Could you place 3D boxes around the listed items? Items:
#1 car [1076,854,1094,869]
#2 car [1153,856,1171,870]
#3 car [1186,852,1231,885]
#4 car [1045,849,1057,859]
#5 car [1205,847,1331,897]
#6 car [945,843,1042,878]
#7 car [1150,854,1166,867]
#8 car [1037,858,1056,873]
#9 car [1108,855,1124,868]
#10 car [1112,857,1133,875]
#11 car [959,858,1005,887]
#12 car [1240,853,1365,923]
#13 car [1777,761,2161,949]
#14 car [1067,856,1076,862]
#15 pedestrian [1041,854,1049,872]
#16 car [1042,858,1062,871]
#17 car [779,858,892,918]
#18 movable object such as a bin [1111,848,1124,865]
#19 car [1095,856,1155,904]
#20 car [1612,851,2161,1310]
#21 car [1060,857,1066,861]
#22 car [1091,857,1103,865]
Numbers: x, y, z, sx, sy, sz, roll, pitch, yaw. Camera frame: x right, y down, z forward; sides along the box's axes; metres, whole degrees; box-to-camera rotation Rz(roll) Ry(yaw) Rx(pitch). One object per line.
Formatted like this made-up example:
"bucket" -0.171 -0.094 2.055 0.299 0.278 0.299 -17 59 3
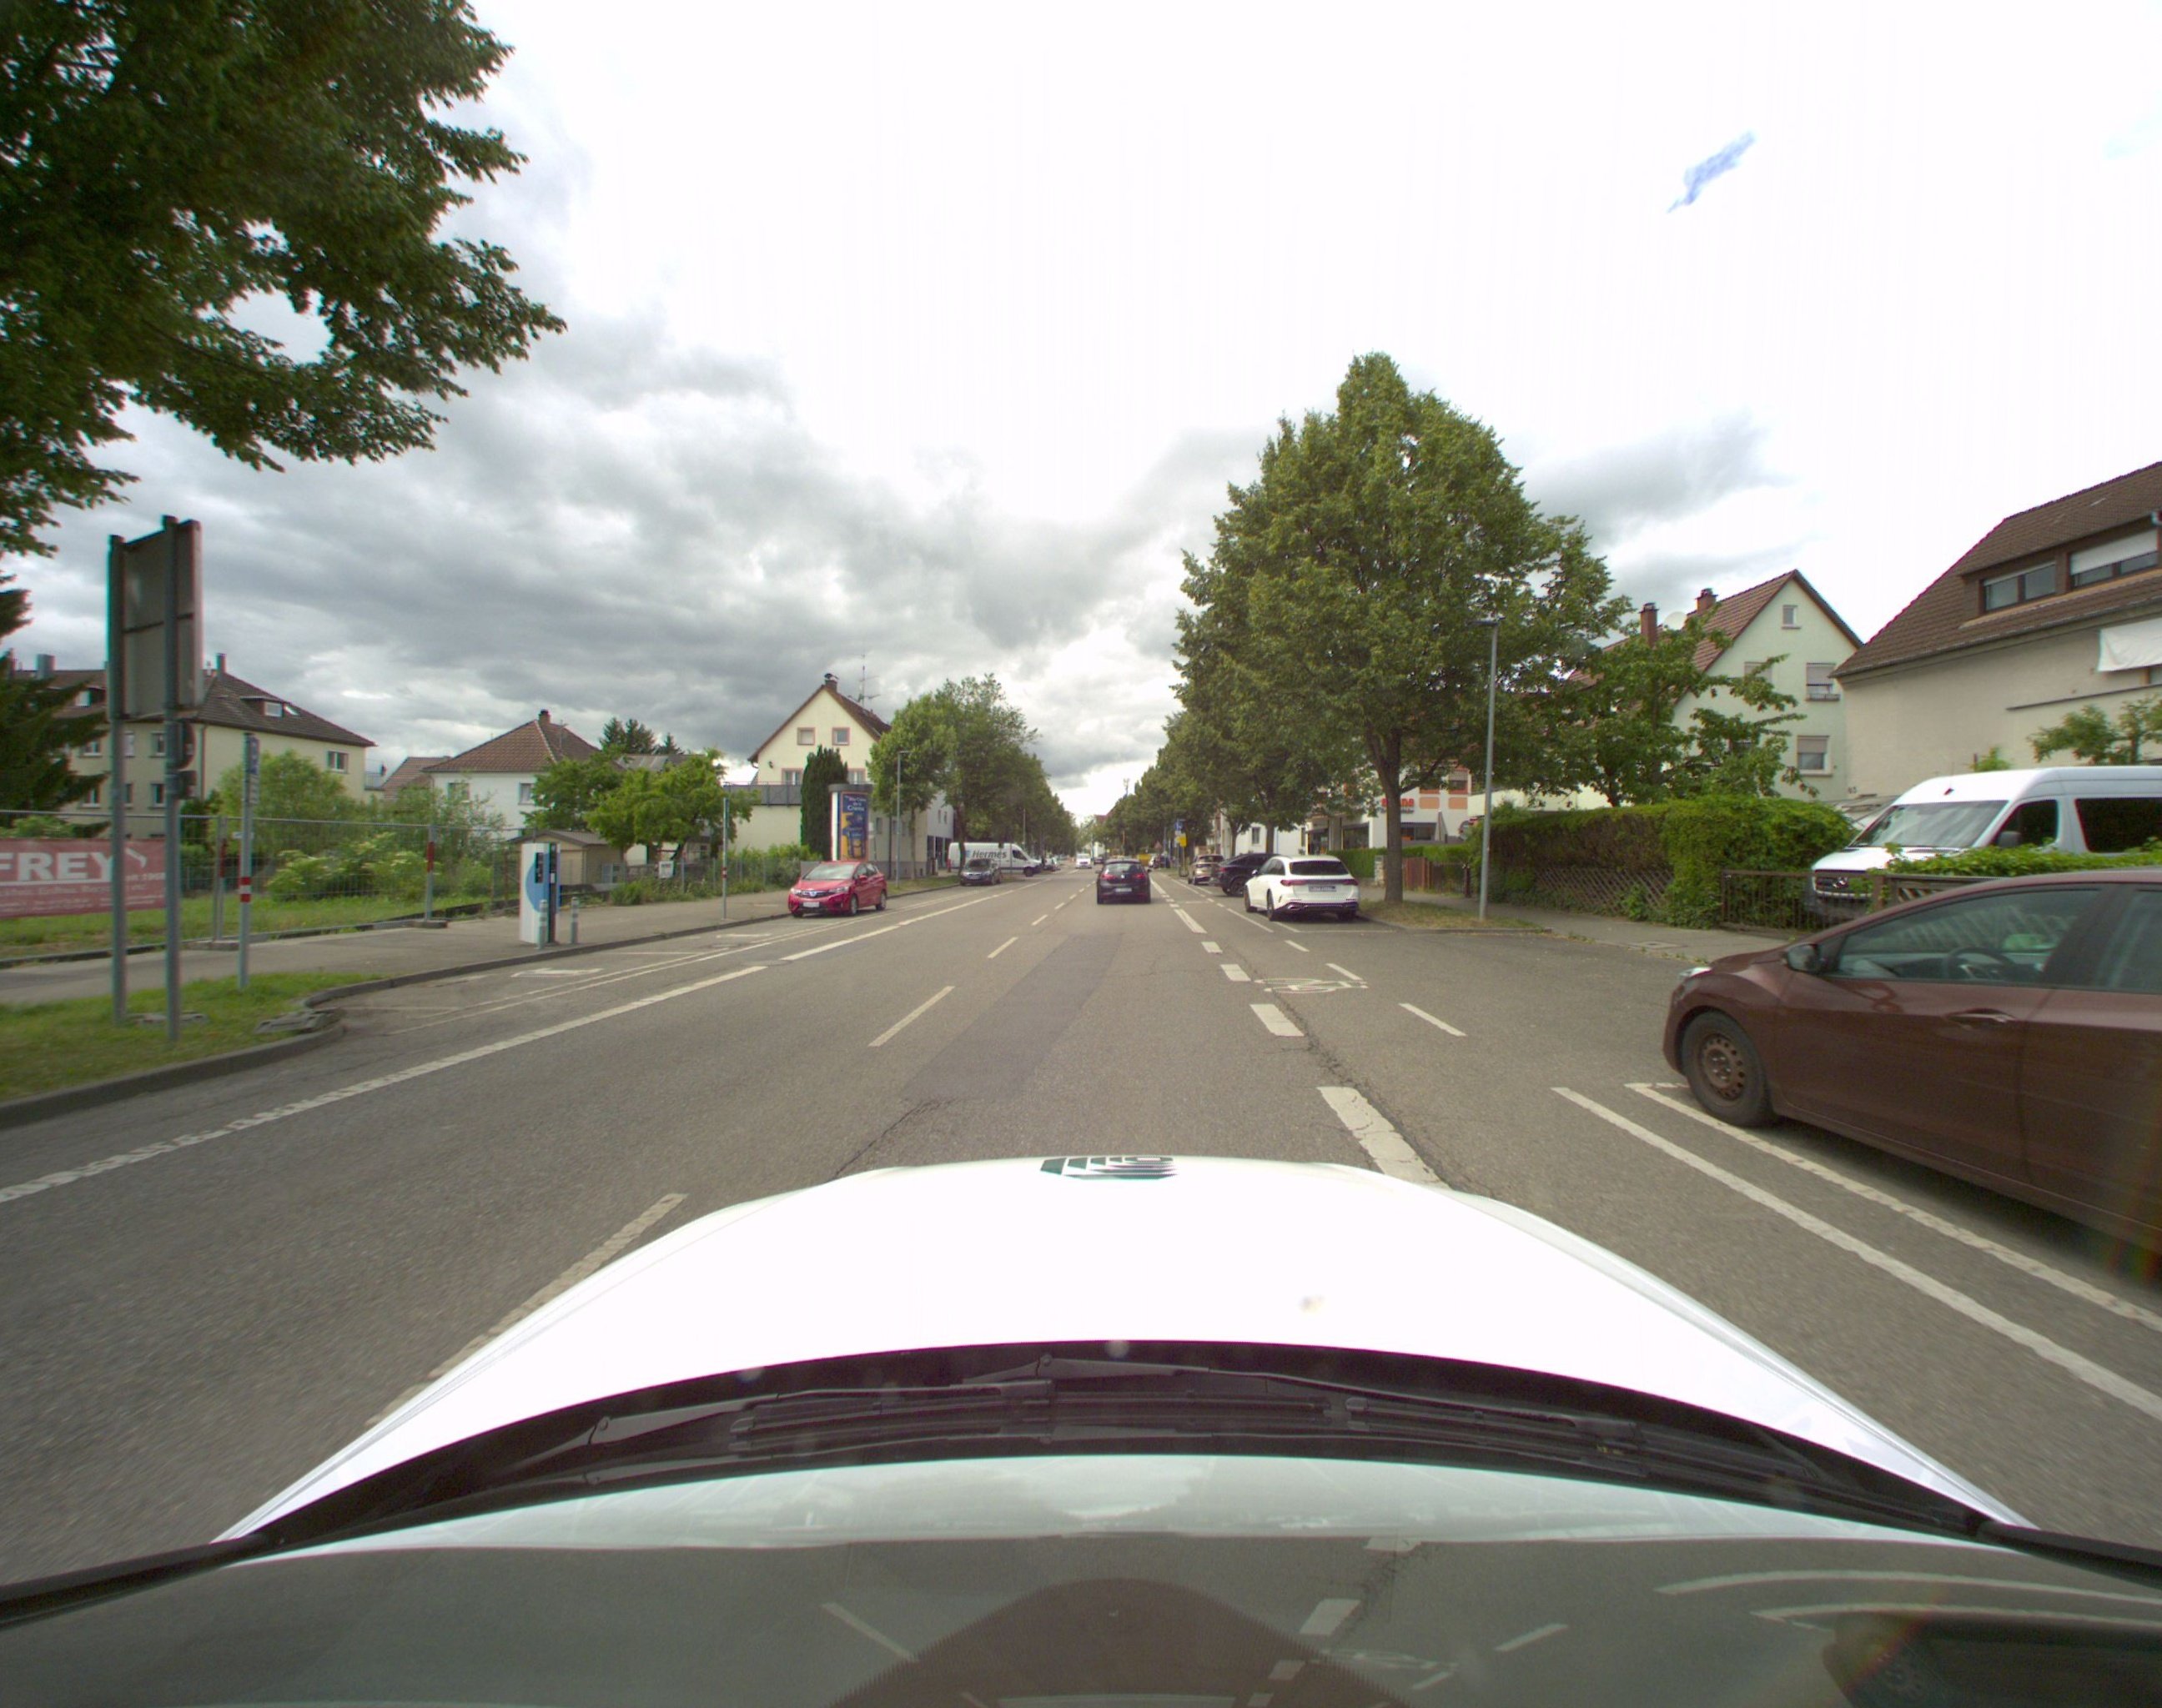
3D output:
"car" 0.497 0.883 99.858 1.958 1.830 4.822 -1 0 3
"car" 8.998 0.963 90.831 1.699 1.454 4.618 -1 0 2
"car" 6.422 0.715 41.499 1.716 1.580 4.061 -1 0 1
"car" -6.383 0.045 172.302 2.089 2.175 5.035 -1 0 -5
"car" 6.783 0.640 29.779 4.207 1.638 1.691 -1 0 -3
"car" -6.748 0.489 63.541 7.267 2.594 2.219 -1 0 -1
"car" 9.487 0.795 100.747 1.667 1.462 3.999 -1 0 0
"car" -3.471 1.166 83.462 1.637 1.420 4.022 -1 0 2
"car" 4.496 0.976 104.553 1.785 1.623 3.738 -1 0 -1
"car" 4.132 1.207 80.687 1.897 1.685 3.744 -1 0 4
"car" -5.508 0.990 45.665 1.723 1.469 4.306 -1 0 4
"car" 5.127 0.729 19.542 1.799 1.475 4.813 0 0 1
"car" 14.209 -0.007 12.379 5.698 2.591 1.996 0 0 -2
"car" -2.489 1.333 204.697 1.809 1.415 3.682 0 0 -9
"pedestrian" -3.299 0.817 75.330 0.539 1.681 0.752 1 1 11
"car" -3.210 1.173 90.094 1.706 1.406 4.305 -1 0 4
"car" -6.847 0.899 23.192 1.677 1.541 4.137 0 0 5
"movable object such as a bin" 5.482 0.339 122.931 1.762 2.574 3.740 0 0 0
"car" 1.396 0.820 27.198 1.813 1.437 3.740 -1 0 0
"car" 4.268 0.715 3.289 1.646 1.416 4.180 -2 0 3
"car" -5.468 1.508 246.247 1.806 1.415 3.689 0 0 -3
"car" 2.651 1.171 133.814 1.805 1.375 3.690 0 0 -2
